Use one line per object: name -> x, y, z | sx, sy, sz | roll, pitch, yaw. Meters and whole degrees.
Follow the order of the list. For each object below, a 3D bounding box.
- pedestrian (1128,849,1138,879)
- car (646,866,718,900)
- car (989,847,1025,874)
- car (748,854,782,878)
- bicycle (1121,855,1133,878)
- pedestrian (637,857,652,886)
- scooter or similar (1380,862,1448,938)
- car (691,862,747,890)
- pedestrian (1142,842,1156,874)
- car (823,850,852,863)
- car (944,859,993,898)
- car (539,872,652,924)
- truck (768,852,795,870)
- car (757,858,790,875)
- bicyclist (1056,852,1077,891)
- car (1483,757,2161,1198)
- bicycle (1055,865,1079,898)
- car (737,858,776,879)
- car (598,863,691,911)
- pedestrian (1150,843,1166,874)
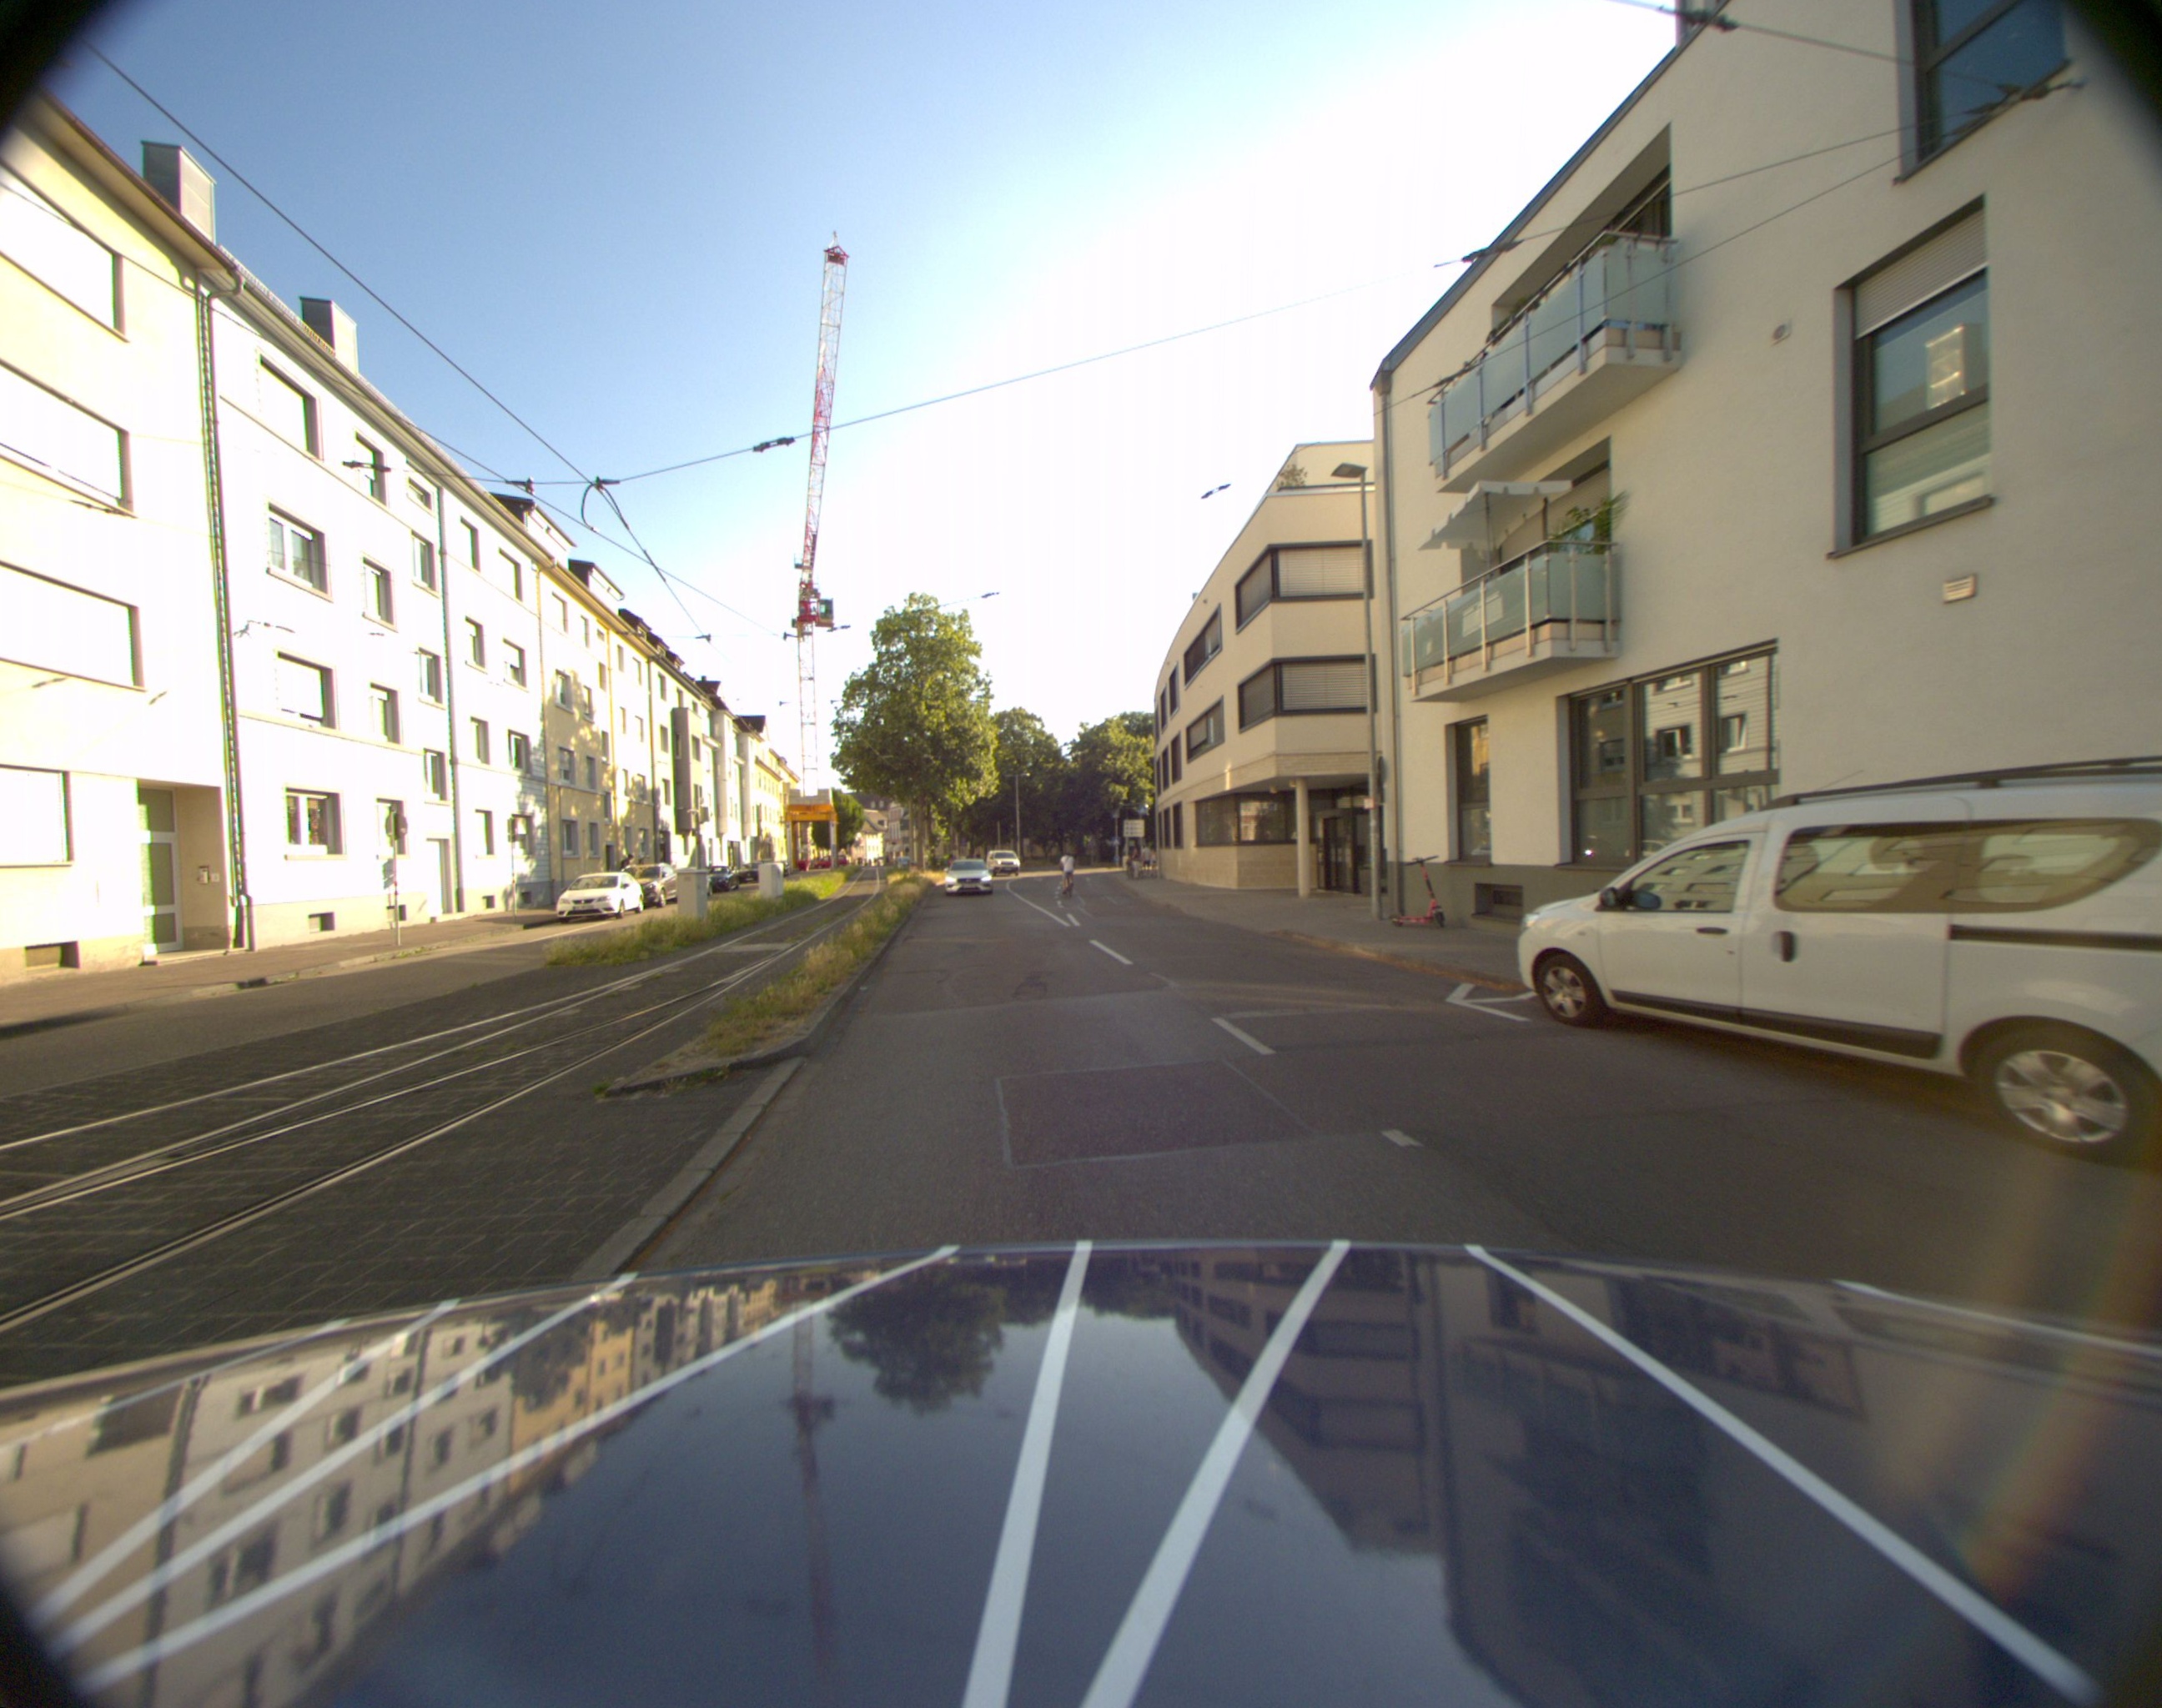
pedestrian -> 2.835, 0.536, 41.624 | 0.475, 1.638, 0.603 | 0, 1, 9
car -> -18.070, 1.278, 34.598 | 2.001, 1.378, 4.440 | -1, 0, -16
car -> -5.650, 0.482, 57.224 | 2.001, 1.843, 4.896 | -1, 0, -14
car -> -24.795, 0.912, 59.726 | 2.001, 1.738, 4.203 | -1, 0, -16
bicycle -> 2.552, 0.673, 41.696 | 0.441, 1.171, 1.968 | -2, 0, 8
pedestrian -> -21.864, 0.889, 38.072 | 0.525, 1.432, 0.460 | -2, 1, -15
scooter or similar -> 5.617, 0.754, 12.872 | 0.225, 1.213, 1.153 | -3, 0, -23
car -> -19.604, 1.140, 41.353 | 2.001, 1.378, 4.440 | -1, 0, -16
pedestrian -> 3.896, 0.219, 43.803 | 0.607, 1.838, 0.992 | -3, 2, -2
car -> -36.601, 0.381, 114.126 | 4.075, 1.910, 1.997 | -1, 0, -18
car -> -4.704, 0.962, 31.802 | 1.855, 1.455, 4.769 | -1, 0, -9
car -> -15.317, 1.320, 24.261 | 2.002, 1.378, 4.439 | -1, 0, -19
truck -> -29.116, 0.671, 73.871 | 2.001, 1.576, 4.091 | -1, 0, -16
car -> -26.117, 1.054, 64.633 | 2.001, 1.378, 4.204 | -1, 0, -13
bicyclist -> -0.525, 0.629, 27.619 | 0.624, 1.372, 0.800 | -1, 1, -8
car -> 5.052, 0.444, 5.036 | 1.817, 1.859, 4.327 | -4, 2, -11
bicycle -> -0.520, 0.987, 27.682 | 0.624, 1.075, 1.782 | -1, 1, -8
car -> -23.349, 1.033, 54.784 | 2.001, 1.378, 4.440 | -1, 0, -16
car -> -16.689, 1.201, 29.334 | 2.001, 1.563, 4.634 | -1, 1, -16
pedestrian -> 4.433, 0.261, 43.832 | 0.704, 1.704, 0.842 | -3, 2, -2
